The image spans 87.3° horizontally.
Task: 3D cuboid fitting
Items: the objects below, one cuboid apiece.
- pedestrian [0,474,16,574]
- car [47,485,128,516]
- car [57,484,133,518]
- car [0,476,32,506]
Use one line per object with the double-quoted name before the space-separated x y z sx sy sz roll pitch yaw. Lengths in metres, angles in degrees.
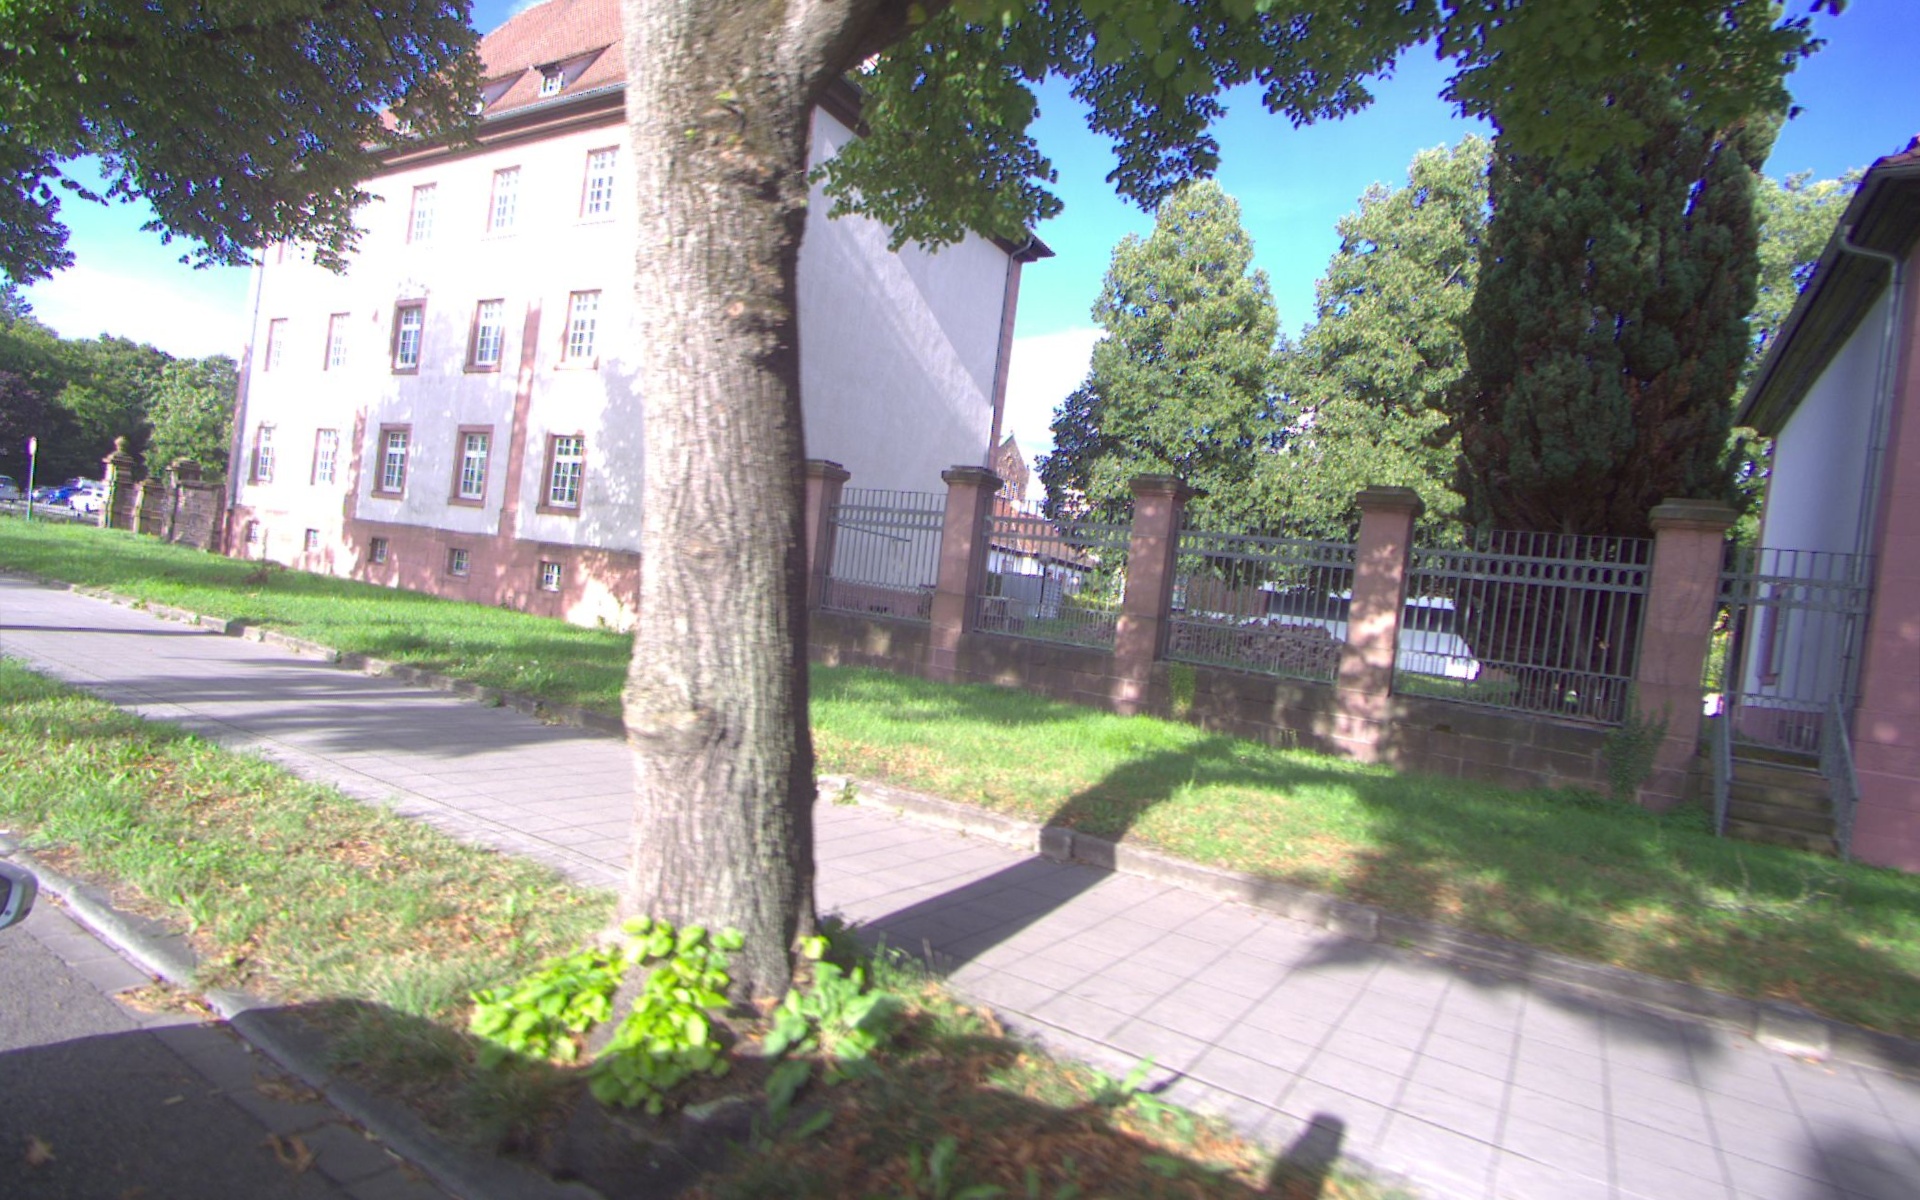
"pedestrian" -16.094 -1.290 16.394 0.756 1.611 0.814 7 3 31
"car" -63.680 -7.275 73.478 1.967 1.571 3.992 7 0 31
"car" -52.601 -6.018 61.169 3.928 1.460 1.998 7 0 25
"car" -55.118 -6.373 57.432 3.932 1.460 1.997 7 0 30
